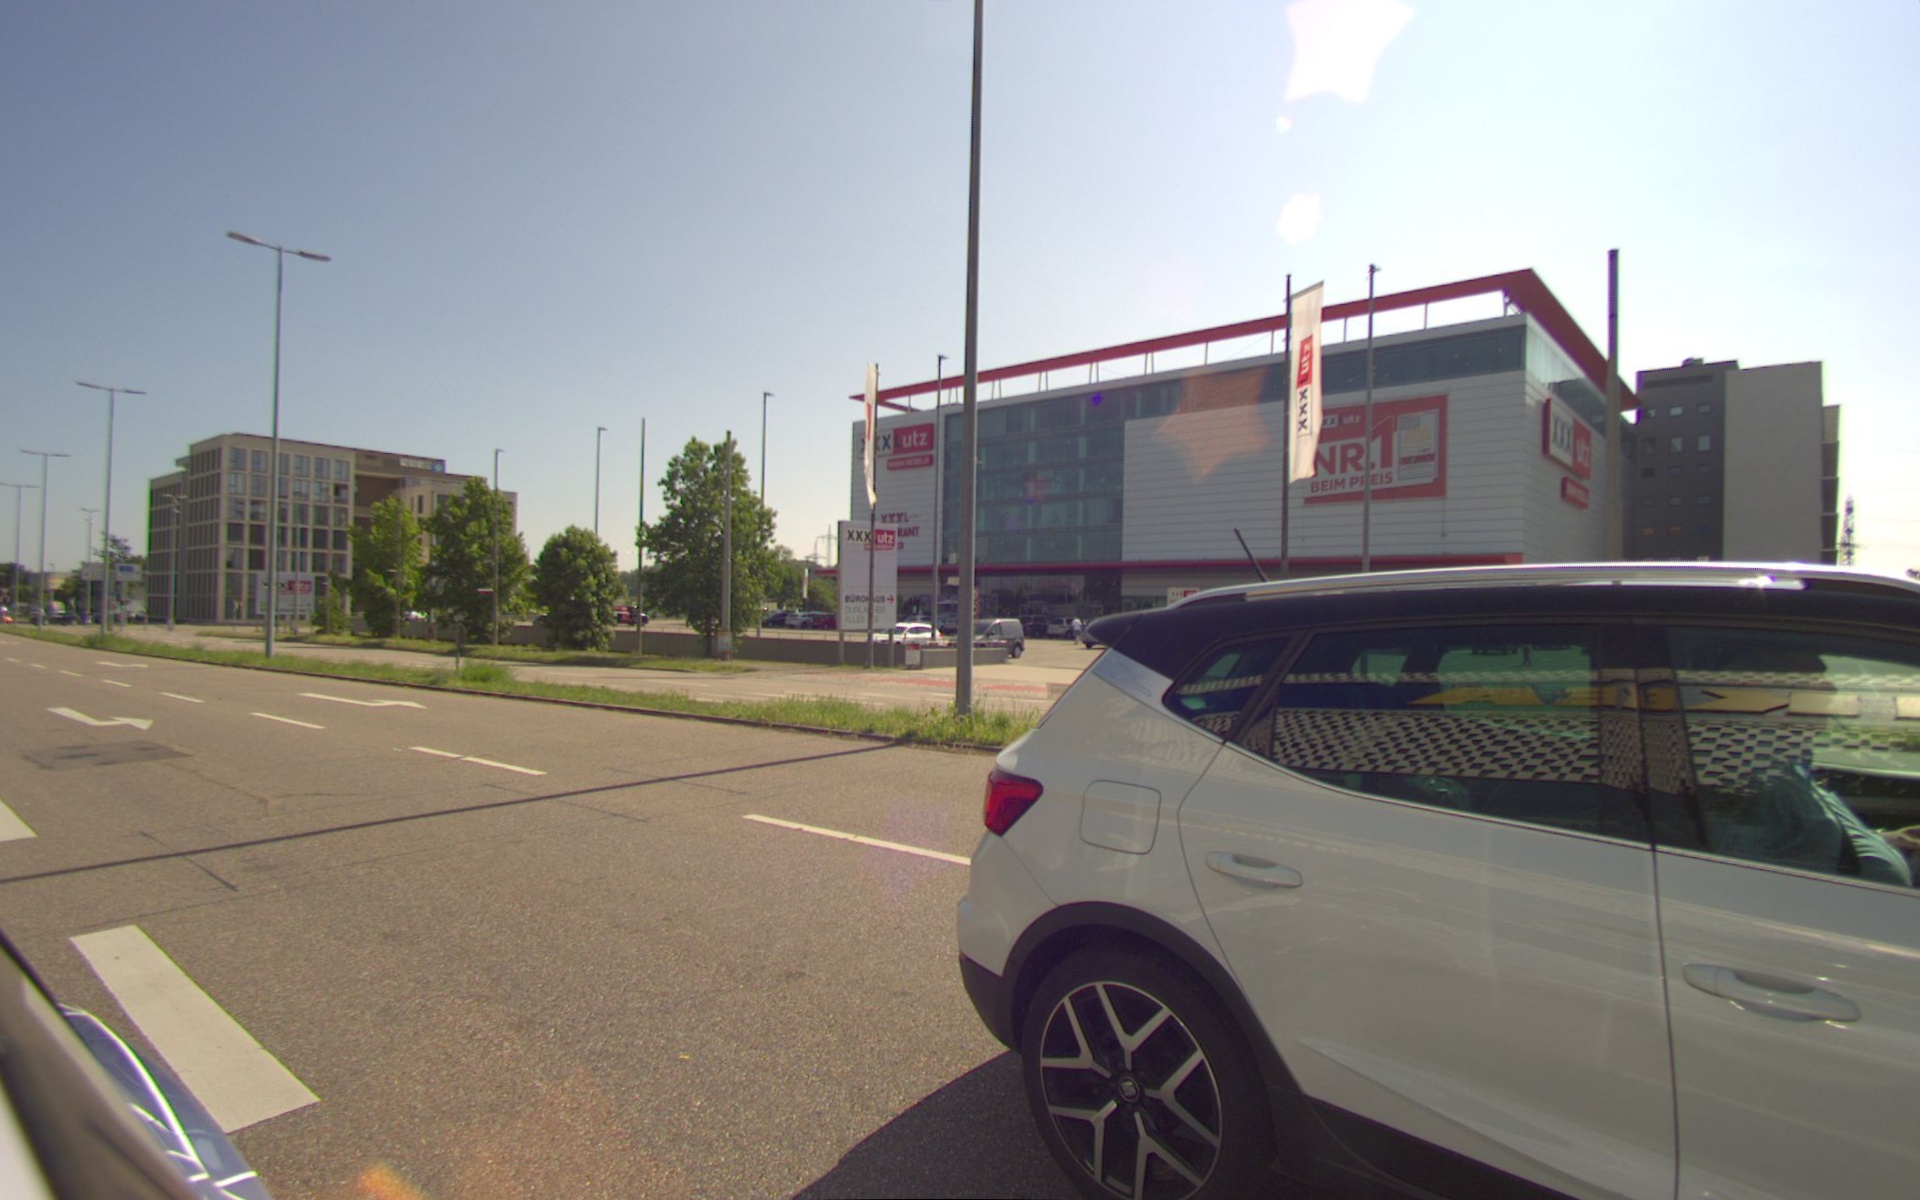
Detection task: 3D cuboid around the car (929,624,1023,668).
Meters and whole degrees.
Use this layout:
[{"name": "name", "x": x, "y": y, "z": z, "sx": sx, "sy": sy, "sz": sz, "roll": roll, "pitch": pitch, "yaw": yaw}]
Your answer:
[{"name": "car", "x": 0.788, "y": 2.078, "z": 46.166, "sx": 1.944, "sy": 1.856, "sz": 4.367, "roll": 0, "pitch": -2, "yaw": 41}]

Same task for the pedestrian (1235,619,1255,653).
[{"name": "pedestrian", "x": 16.022, "y": 2.041, "z": 56.896, "sx": 0.751, "sy": 1.872, "sz": 0.844, "roll": -1, "pitch": -3, "yaw": 41}]

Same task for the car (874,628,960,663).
[{"name": "car", "x": -2.106, "y": 2.239, "z": 50.445, "sx": 1.869, "sy": 1.640, "sz": 4.369, "roll": 0, "pitch": -2, "yaw": 39}]

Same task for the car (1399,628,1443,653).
[{"name": "car", "x": 25.818, "y": 2.239, "z": 56.641, "sx": 1.514, "sy": 1.340, "sz": 3.056, "roll": 1, "pitch": -1, "yaw": 40}]

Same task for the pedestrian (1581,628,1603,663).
[{"name": "pedestrian", "x": 37.541, "y": 2.708, "z": 60.136, "sx": 0.975, "sy": 2.029, "sz": 0.936, "roll": -1, "pitch": -3, "yaw": 42}]

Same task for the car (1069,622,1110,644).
[{"name": "car", "x": 8.292, "y": 2.070, "z": 64.623, "sx": 1.313, "sy": 1.340, "sz": 2.838, "roll": 1, "pitch": -1, "yaw": 40}]

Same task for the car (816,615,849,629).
[{"name": "car", "x": -12.554, "y": 2.173, "z": 99.577, "sx": 1.514, "sy": 1.395, "sz": 3.056, "roll": 1, "pitch": -1, "yaw": 40}]

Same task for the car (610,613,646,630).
[{"name": "car", "x": -31.380, "y": 2.034, "z": 95.732, "sx": 1.773, "sy": 1.568, "sz": 2.739, "roll": -1, "pitch": -3, "yaw": 40}]

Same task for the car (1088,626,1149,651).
[{"name": "car", "x": 9.361, "y": 2.234, "z": 59.564, "sx": 1.514, "sy": 1.340, "sz": 4.443, "roll": 1, "pitch": -1, "yaw": 40}]

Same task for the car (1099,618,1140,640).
[{"name": "car", "x": 12.255, "y": 2.190, "z": 77.655, "sx": 1.660, "sy": 1.642, "sz": 3.528, "roll": -1, "pitch": -2, "yaw": 36}]

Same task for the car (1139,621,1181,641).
[{"name": "car", "x": 13.659, "y": 2.112, "z": 69.080, "sx": 1.514, "sy": 1.340, "sz": 3.056, "roll": 1, "pitch": -1, "yaw": 40}]

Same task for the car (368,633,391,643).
[{"name": "car", "x": -61.757, "y": 4.009, "z": 107.746, "sx": 0.889, "sy": 0.983, "sz": 1.918, "roll": 1, "pitch": -1, "yaw": 38}]

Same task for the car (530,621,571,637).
[{"name": "car", "x": -29.217, "y": 2.069, "z": 72.187, "sx": 1.070, "sy": 1.067, "sz": 2.489, "roll": 1, "pitch": -1, "yaw": 38}]

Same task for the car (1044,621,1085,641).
[{"name": "car", "x": 7.611, "y": 2.233, "z": 73.372, "sx": 1.514, "sy": 1.340, "sz": 3.056, "roll": 1, "pitch": -1, "yaw": 40}]

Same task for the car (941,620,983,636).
[{"name": "car", "x": 0.181, "y": 2.177, "z": 79.772, "sx": 1.479, "sy": 1.208, "sz": 3.463, "roll": 1, "pitch": -1, "yaw": 40}]

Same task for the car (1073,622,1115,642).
[{"name": "car", "x": 9.519, "y": 2.261, "z": 71.643, "sx": 1.514, "sy": 1.340, "sz": 3.056, "roll": 1, "pitch": -1, "yaw": 40}]

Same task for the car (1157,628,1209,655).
[{"name": "car", "x": 12.167, "y": 2.241, "z": 55.191, "sx": 1.514, "sy": 1.340, "sz": 3.056, "roll": 1, "pitch": -1, "yaw": 40}]

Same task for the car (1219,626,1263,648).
[{"name": "car", "x": 17.843, "y": 2.343, "z": 64.240, "sx": 1.587, "sy": 1.340, "sz": 3.372, "roll": -1, "pitch": -2, "yaw": 37}]

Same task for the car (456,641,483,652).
[{"name": "car", "x": -44.851, "y": 4.260, "z": 92.615, "sx": 1.070, "sy": 0.983, "sz": 1.918, "roll": 1, "pitch": -1, "yaw": 38}]

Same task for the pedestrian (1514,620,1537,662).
[{"name": "pedestrian", "x": 26.013, "y": 1.893, "z": 46.572, "sx": 0.770, "sy": 1.909, "sz": 0.500, "roll": 2, "pitch": -3, "yaw": -19}]

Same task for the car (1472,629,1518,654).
[{"name": "car", "x": 30.763, "y": 2.351, "z": 58.172, "sx": 1.778, "sy": 1.340, "sz": 3.056, "roll": 1, "pitch": -1, "yaw": 40}]

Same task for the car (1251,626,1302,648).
[{"name": "car", "x": 19.862, "y": 2.298, "z": 63.444, "sx": 1.514, "sy": 1.340, "sz": 4.257, "roll": 1, "pitch": -1, "yaw": 40}]

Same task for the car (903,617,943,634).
[{"name": "car", "x": -3.075, "y": 2.102, "z": 83.561, "sx": 1.703, "sy": 1.340, "sz": 3.056, "roll": 1, "pitch": -1, "yaw": 40}]

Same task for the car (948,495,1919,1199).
[{"name": "car", "x": 1.954, "y": 0.612, "z": 1.947, "sx": 3.868, "sy": 1.509, "sz": 1.613, "roll": -4, "pitch": -3, "yaw": 42}]

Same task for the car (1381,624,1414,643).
[{"name": "car", "x": 31.227, "y": 2.379, "z": 72.248, "sx": 1.365, "sy": 1.276, "sz": 3.056, "roll": 1, "pitch": -1, "yaw": 40}]

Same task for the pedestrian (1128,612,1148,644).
[{"name": "pedestrian", "x": 11.732, "y": 1.852, "z": 66.773, "sx": 0.849, "sy": 2.029, "sz": 1.024, "roll": 3, "pitch": -3, "yaw": -35}]

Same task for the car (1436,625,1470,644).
[{"name": "car", "x": 33.969, "y": 2.367, "z": 69.665, "sx": 1.440, "sy": 1.234, "sz": 3.056, "roll": 1, "pitch": -1, "yaw": 40}]

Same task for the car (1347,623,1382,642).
[{"name": "car", "x": 29.774, "y": 2.366, "z": 74.429, "sx": 1.514, "sy": 1.340, "sz": 3.056, "roll": 1, "pitch": -1, "yaw": 40}]

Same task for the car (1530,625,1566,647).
[{"name": "car", "x": 38.769, "y": 2.352, "z": 66.703, "sx": 1.514, "sy": 1.340, "sz": 3.056, "roll": 1, "pitch": -1, "yaw": 40}]

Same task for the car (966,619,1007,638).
[{"name": "car", "x": 2.050, "y": 2.175, "z": 77.740, "sx": 1.514, "sy": 1.340, "sz": 3.056, "roll": 1, "pitch": -1, "yaw": 40}]

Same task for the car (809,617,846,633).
[{"name": "car", "x": -11.964, "y": 2.241, "z": 91.437, "sx": 1.514, "sy": 1.340, "sz": 3.181, "roll": 1, "pitch": -1, "yaw": 40}]

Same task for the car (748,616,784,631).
[{"name": "car", "x": -18.053, "y": 2.205, "z": 94.134, "sx": 1.514, "sy": 1.340, "sz": 3.056, "roll": 1, "pitch": -1, "yaw": 40}]

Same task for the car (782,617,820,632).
[{"name": "car", "x": -14.484, "y": 2.253, "z": 92.383, "sx": 1.514, "sy": 1.340, "sz": 3.181, "roll": 1, "pitch": -1, "yaw": 40}]

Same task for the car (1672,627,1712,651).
[{"name": "car", "x": 44.406, "y": 2.336, "z": 61.376, "sx": 1.750, "sy": 1.340, "sz": 3.625, "roll": 1, "pitch": -1, "yaw": 40}]

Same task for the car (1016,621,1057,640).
[{"name": "car", "x": 5.676, "y": 2.270, "z": 75.134, "sx": 1.515, "sy": 1.303, "sz": 3.056, "roll": 1, "pitch": -1, "yaw": 40}]

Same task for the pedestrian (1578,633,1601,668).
[{"name": "pedestrian", "x": 36.758, "y": 2.947, "z": 59.073, "sx": 0.975, "sy": 2.029, "sz": 0.936, "roll": -1, "pitch": -3, "yaw": 42}]
